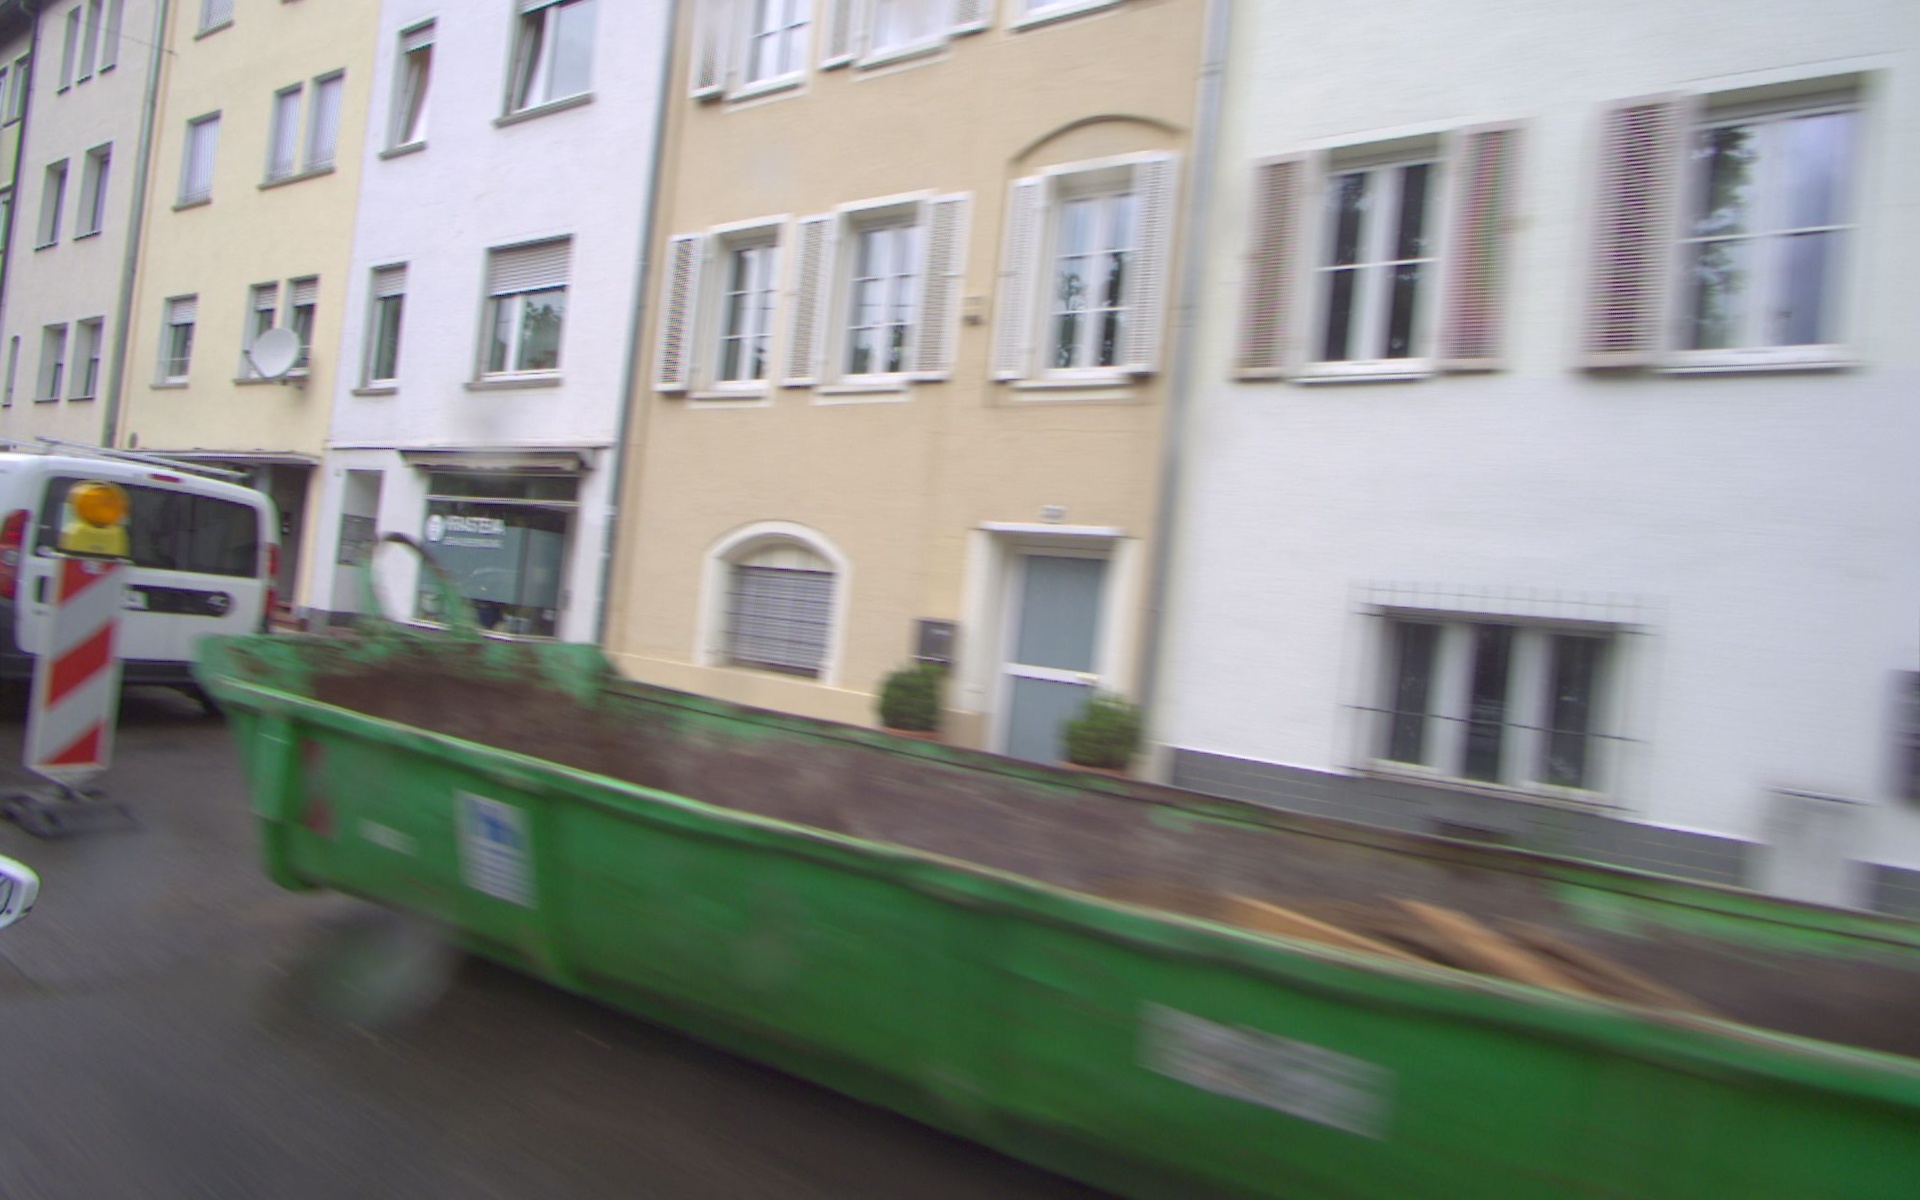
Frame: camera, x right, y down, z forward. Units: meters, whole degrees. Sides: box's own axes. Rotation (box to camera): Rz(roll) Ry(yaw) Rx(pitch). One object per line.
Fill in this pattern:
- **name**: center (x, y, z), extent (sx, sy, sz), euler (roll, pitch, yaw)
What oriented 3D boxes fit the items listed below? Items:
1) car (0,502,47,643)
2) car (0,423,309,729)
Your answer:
- **car**: center (-11.919, -0.511, 11.210), extent (3.443, 1.488, 1.580), euler (7, -1, 31)
- **car**: center (-7.434, -0.259, 8.262), extent (4.170, 1.946, 1.820), euler (7, -2, 33)
